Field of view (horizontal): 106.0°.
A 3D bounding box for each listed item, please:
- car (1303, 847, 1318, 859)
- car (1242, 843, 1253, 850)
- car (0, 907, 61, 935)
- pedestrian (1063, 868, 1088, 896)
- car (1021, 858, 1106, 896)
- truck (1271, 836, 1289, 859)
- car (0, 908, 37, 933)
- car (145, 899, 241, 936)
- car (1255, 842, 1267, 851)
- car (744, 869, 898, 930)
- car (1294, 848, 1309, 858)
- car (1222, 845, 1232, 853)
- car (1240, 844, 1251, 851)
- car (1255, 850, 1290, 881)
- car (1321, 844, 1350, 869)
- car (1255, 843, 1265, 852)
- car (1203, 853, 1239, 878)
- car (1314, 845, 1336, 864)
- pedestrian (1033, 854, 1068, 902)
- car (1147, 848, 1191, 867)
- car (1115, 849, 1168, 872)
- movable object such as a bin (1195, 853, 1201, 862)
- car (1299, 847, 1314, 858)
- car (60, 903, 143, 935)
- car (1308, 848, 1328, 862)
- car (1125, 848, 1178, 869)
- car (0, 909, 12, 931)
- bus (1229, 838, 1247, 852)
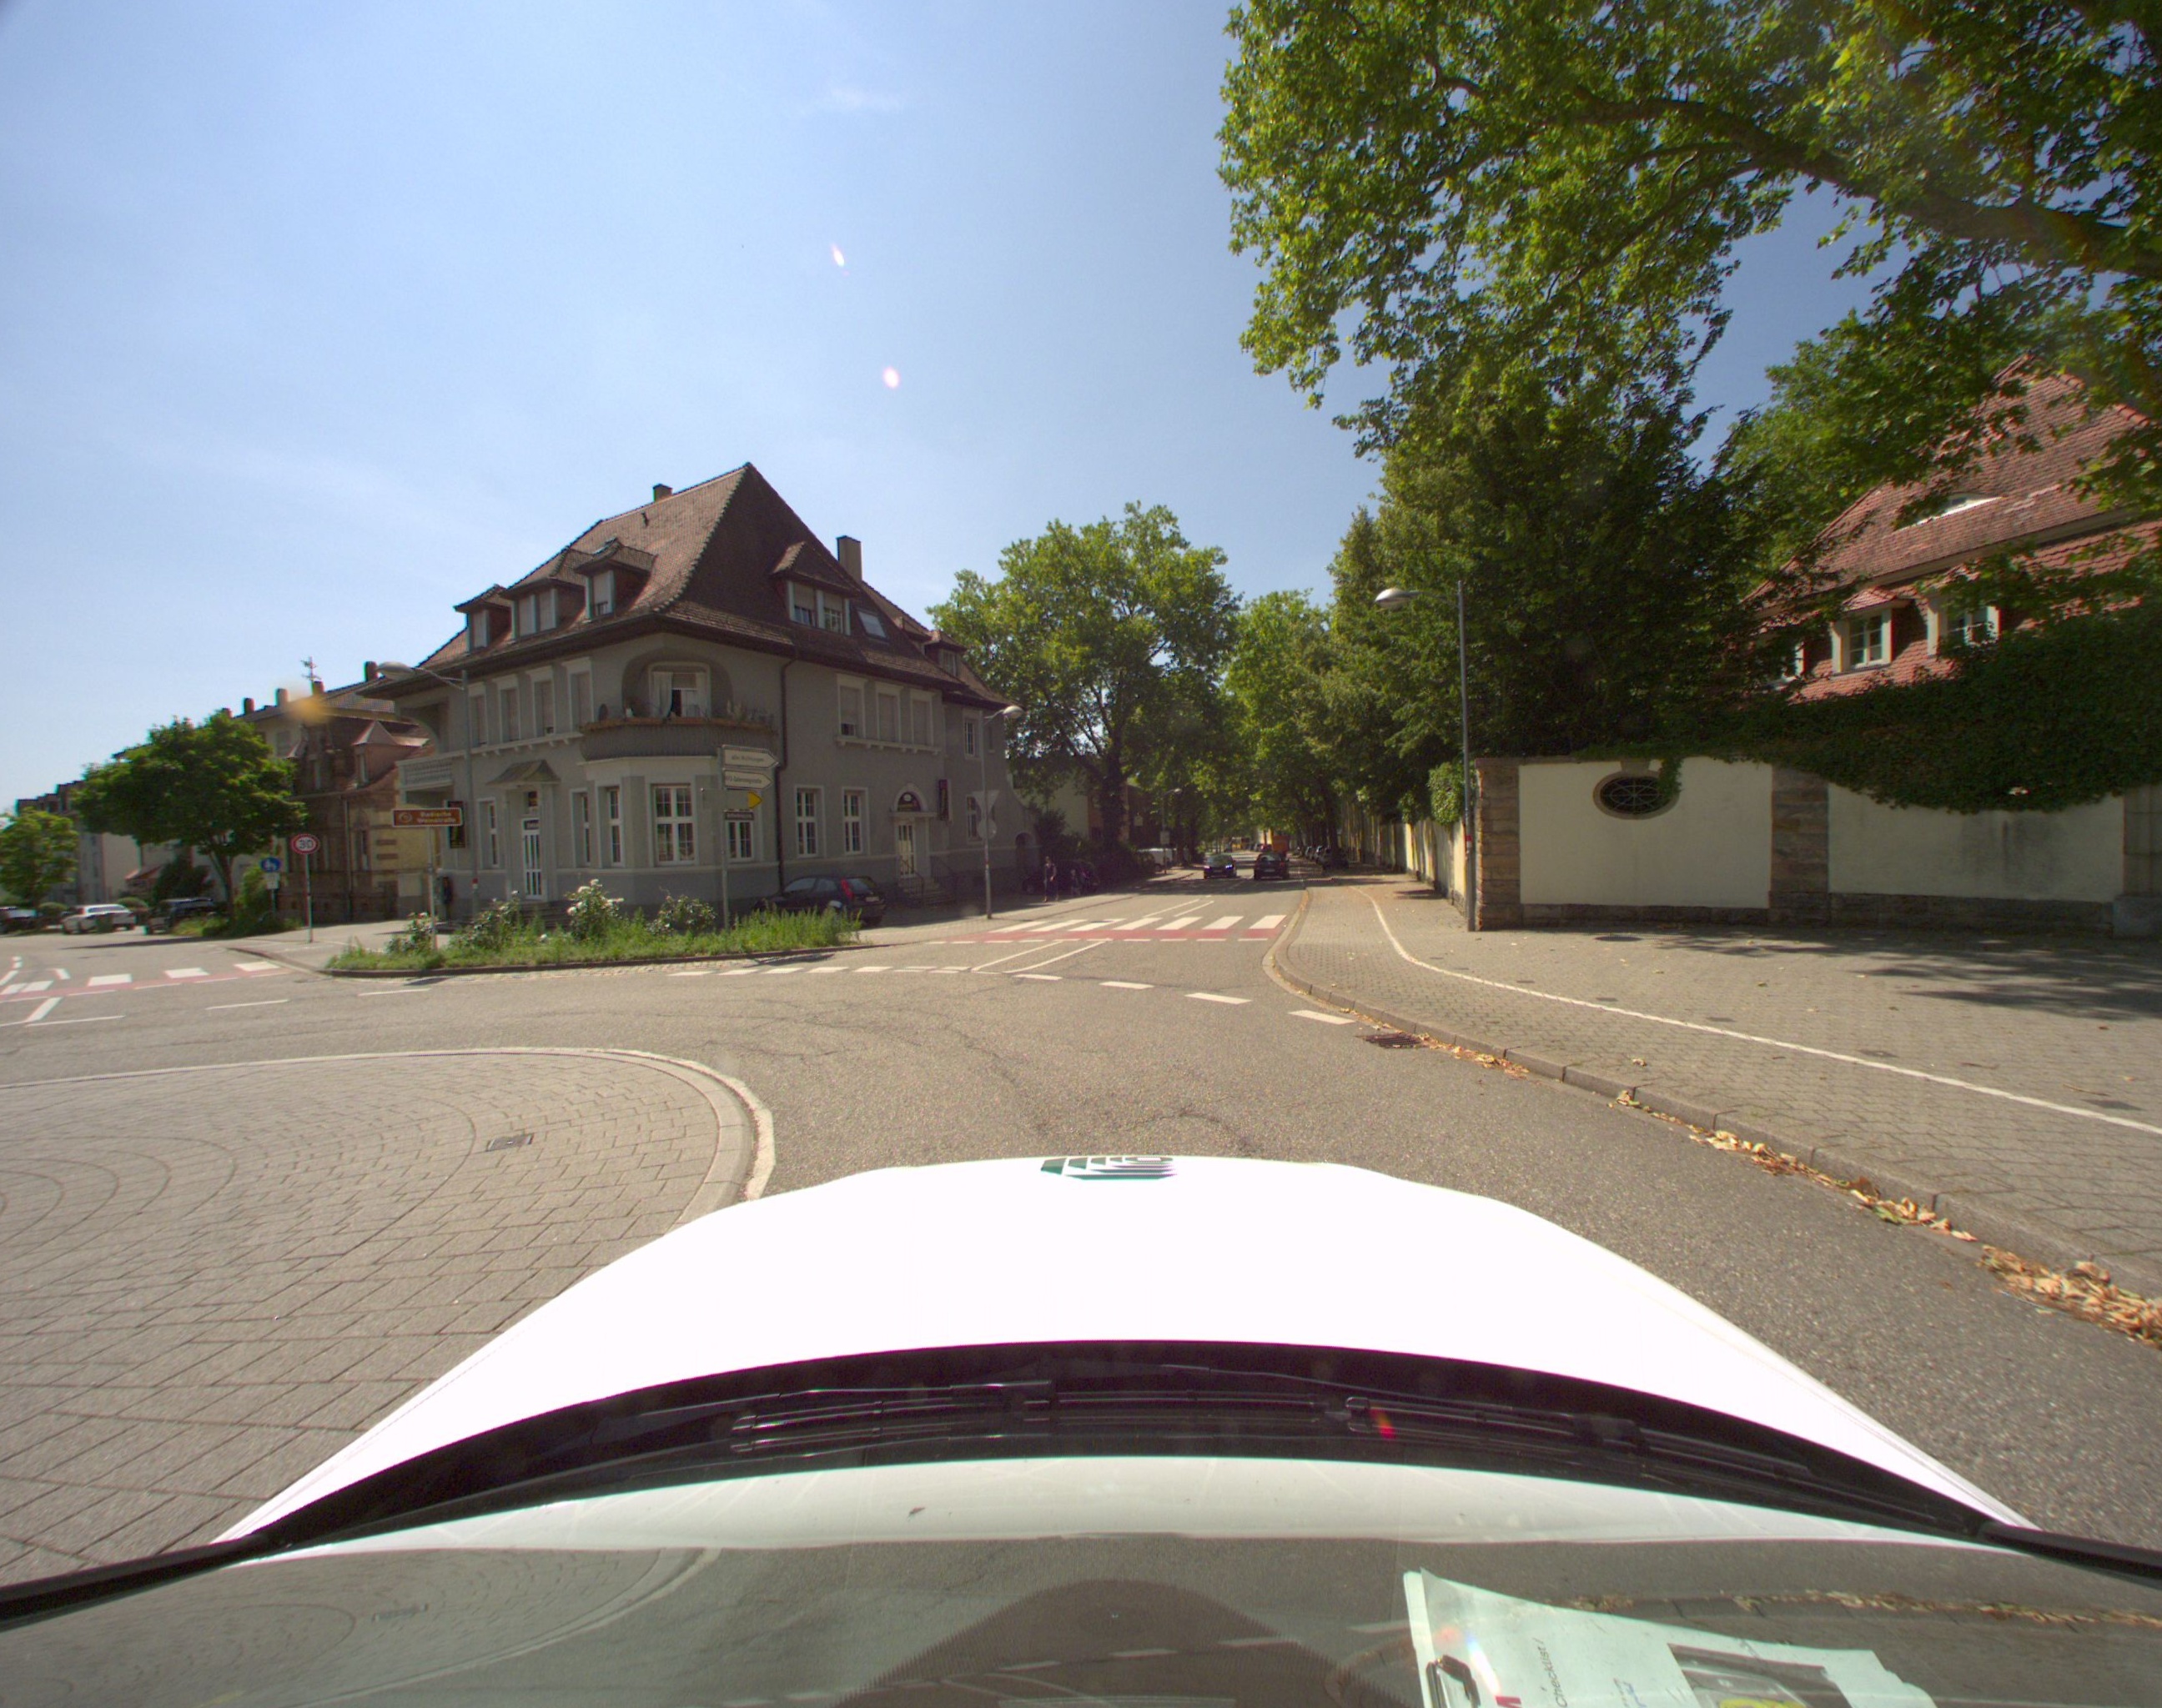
[{"bbox_3d":[29.494,-0.162,104.589,1.566,1.466,3.889,-4,0,13],"label":"car"},{"bbox_3d":[37.451,-1.661,183.274,1.760,1.374,3.731,-4,0,1],"label":"car"},{"bbox_3d":[-66.260,4.188,51.107,4.363,1.509,2.012,-3,-1,28],"label":"car"},{"bbox_3d":[-0.225,1.158,33.898,0.747,1.122,0.902,-3,-1,21],"label":"pedestrian"},{"bbox_3d":[-0.780,1.040,36.822,3.351,1.546,1.734,-3,0,24],"label":"car"},{"bbox_3d":[29.256,-0.908,119.946,2.354,3.134,5.788,-2,-1,13],"label":"truck"},{"bbox_3d":[-71.300,4.425,53.870,4.363,1.509,2.012,-3,-1,28],"label":"car"},{"bbox_3d":[-42.200,3.010,38.678,4.363,1.509,2.012,-3,-1,28],"label":"car"},{"bbox_3d":[36.333,-1.569,164.483,1.869,1.685,4.007,-2,-1,7],"label":"car"},{"bbox_3d":[-7.074,1.244,22.165,3.746,1.460,1.734,-3,0,24],"label":"car"},{"bbox_3d":[34.020,-0.106,125.608,1.756,1.374,3.740,-4,0,10],"label":"car"},{"bbox_3d":[32.344,-1.022,180.551,1.982,1.666,4.009,-2,-1,8],"label":"car"},{"bbox_3d":[38.675,-1.467,191.373,1.760,1.374,3.732,-4,0,2],"label":"car"},{"bbox_3d":[10.276,0.571,43.513,1.698,1.447,4.074,-2,0,14],"label":"car"},{"bbox_3d":[17.901,0.136,57.498,1.728,1.557,4.800,-4,0,16],"label":"car"},{"bbox_3d":[37.696,-1.355,171.519,1.868,1.685,4.010,-2,-1,9],"label":"car"},{"bbox_3d":[8.624,0.678,50.012,1.756,1.426,4.410,-3,0,14],"label":"car"},{"bbox_3d":[24.099,0.022,80.417,1.795,1.689,4.770,-4,0,14],"label":"car"},{"bbox_3d":[-1.153,0.902,30.751,0.864,1.742,1.118,-3,-1,21],"label":"pedestrian"},{"bbox_3d":[8.681,0.365,80.169,4.101,1.804,1.909,-1,0,11],"label":"car"},{"bbox_3d":[4.882,0.483,65.460,3.961,1.792,1.874,-1,0,11],"label":"car"},{"bbox_3d":[14.026,0.411,97.668,0.618,1.048,0.624,-2,0,20],"label":"movable object such as a bin"},{"bbox_3d":[32.418,-0.170,117.079,1.754,1.466,3.889,-4,0,13],"label":"car"},{"bbox_3d":[-52.962,3.525,44.031,4.363,1.509,2.012,-3,-1,28],"label":"car"},{"bbox_3d":[26.351,0.091,90.600,1.754,1.433,3.889,-4,0,13],"label":"car"},{"bbox_3d":[6.274,0.371,72.321,4.394,1.804,1.909,-1,0,11],"label":"car"},{"bbox_3d":[-76.441,4.666,56.512,4.363,1.509,2.012,-3,-1,28],"label":"car"},{"bbox_3d":[39.998,-2.317,207.167,2.653,3.150,11.202,-3,0,2],"label":"bus"}]
